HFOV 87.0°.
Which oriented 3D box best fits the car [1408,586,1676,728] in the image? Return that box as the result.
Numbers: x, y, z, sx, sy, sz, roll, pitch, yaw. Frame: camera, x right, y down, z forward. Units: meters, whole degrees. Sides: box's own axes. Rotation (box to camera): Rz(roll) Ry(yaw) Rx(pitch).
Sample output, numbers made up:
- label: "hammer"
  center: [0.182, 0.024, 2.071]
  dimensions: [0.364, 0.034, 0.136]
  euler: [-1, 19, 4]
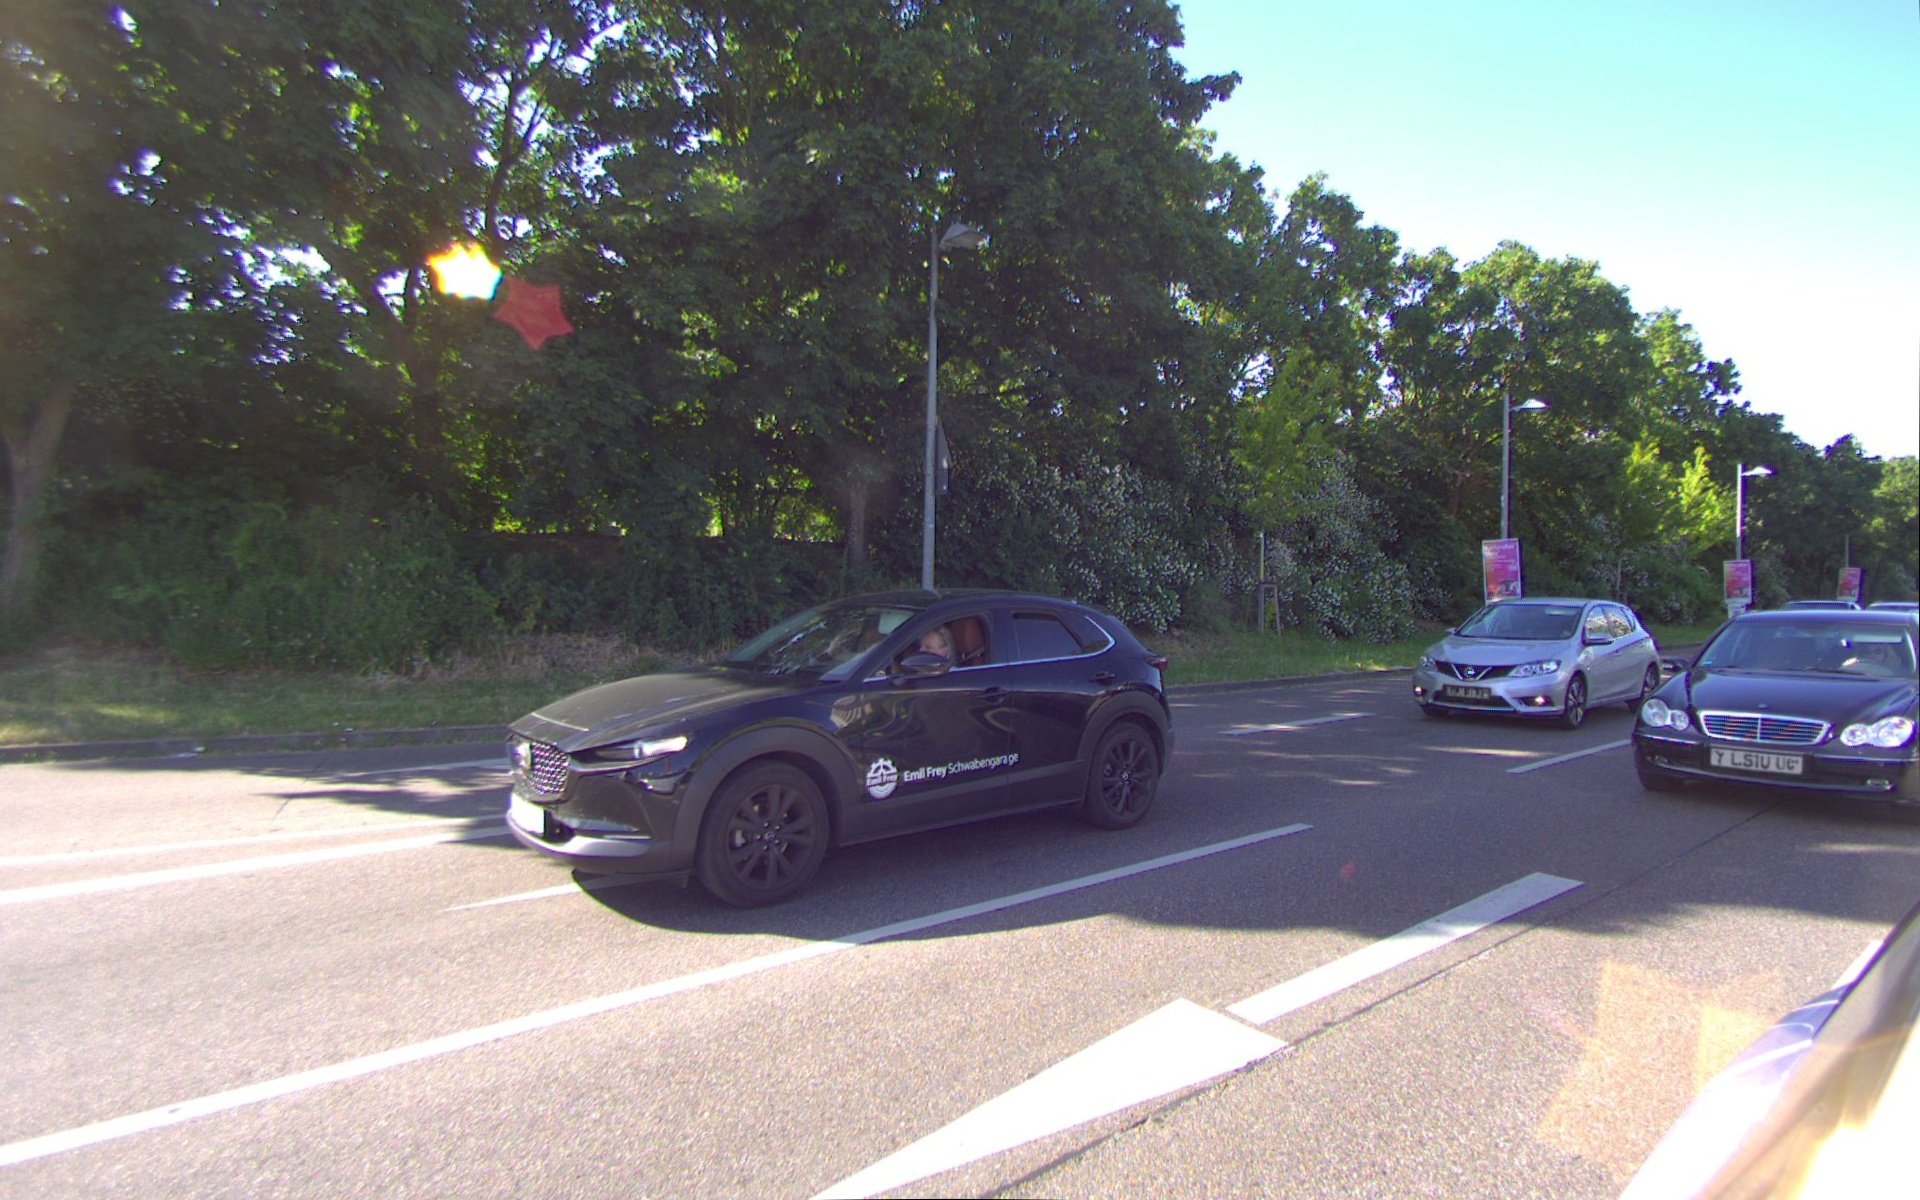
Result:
- label: "car"
  center: [7.524, 0.611, 12.930]
  dimensions: [4.064, 1.536, 1.725]
  euler: [0, 0, -40]

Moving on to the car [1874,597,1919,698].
- label: "car"
  center: [15.516, 0.693, 15.538]
  dimensions: [3.979, 1.437, 1.722]
  euler: [0, 1, -41]

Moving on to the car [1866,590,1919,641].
- label: "car"
  center: [29.103, 0.434, 30.779]
  dimensions: [4.309, 1.454, 1.748]
  euler: [-1, 1, -40]

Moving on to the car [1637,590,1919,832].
- label: "car"
  center: [7.090, 0.692, 8.214]
  dimensions: [4.126, 1.472, 1.715]
  euler: [0, 1, -43]

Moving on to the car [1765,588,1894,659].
- label: "car"
  center: [20.318, 0.481, 23.607]
  dimensions: [3.894, 1.512, 1.713]
  euler: [0, 1, -40]

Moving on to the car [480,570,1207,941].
- label: "car"
  center: [-0.481, 0.617, 6.195]
  dimensions: [4.151, 1.527, 1.771]
  euler: [-1, 0, -40]
